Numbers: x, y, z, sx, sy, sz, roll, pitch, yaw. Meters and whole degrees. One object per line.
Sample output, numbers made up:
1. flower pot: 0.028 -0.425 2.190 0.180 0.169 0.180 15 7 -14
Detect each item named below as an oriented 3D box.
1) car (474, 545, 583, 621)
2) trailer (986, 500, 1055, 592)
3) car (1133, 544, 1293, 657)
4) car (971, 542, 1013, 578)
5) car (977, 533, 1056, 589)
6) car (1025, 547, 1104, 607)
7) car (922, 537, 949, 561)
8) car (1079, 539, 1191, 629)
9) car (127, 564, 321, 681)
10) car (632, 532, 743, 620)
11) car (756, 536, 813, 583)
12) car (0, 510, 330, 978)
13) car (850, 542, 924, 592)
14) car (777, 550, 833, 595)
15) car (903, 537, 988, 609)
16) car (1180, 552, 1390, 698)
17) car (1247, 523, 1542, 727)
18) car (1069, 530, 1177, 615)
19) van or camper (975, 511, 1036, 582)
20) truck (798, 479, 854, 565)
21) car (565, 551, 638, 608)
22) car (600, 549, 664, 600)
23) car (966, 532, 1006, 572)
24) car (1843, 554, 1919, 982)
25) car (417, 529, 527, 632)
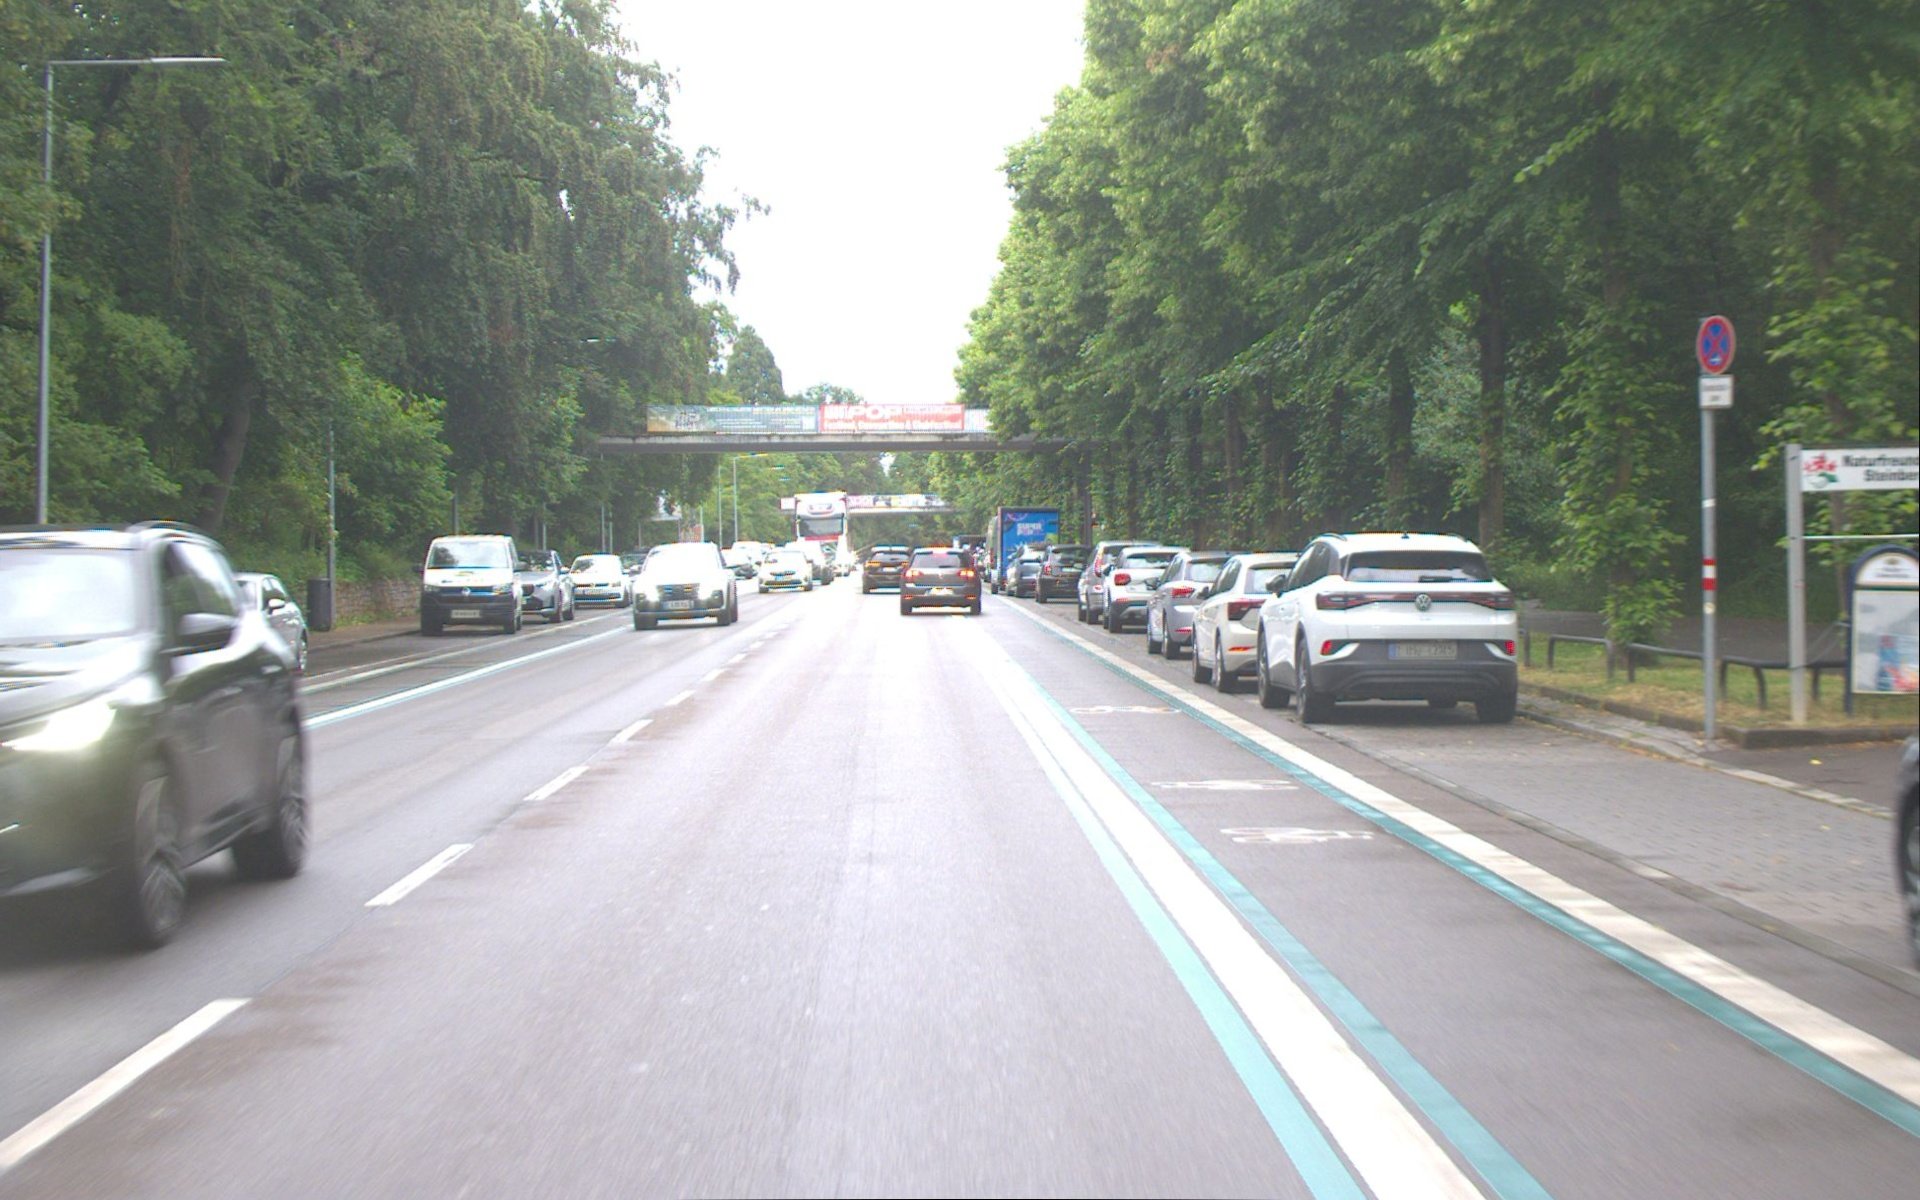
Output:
1. car: -9.849 -0.413 78.766 2.010 1.600 4.780 -1 1 -2
2. trailer: 1.825 -1.652 104.829 1.952 2.749 4.007 0 1 -1
3. car: 3.422 -0.028 47.109 1.698 1.448 4.098 1 1 -2
4. car: 1.450 -1.842 156.936 1.756 1.584 4.499 1 1 -1
5. car: 1.592 -1.154 99.023 1.899 1.542 4.756 1 1 -3
6. car: 2.714 -0.625 90.096 1.825 1.498 4.571 0 1 -1
7. car: -1.675 -3.475 235.898 1.731 1.578 4.036 -1 1 0
8. car: 3.045 -0.317 60.657 1.698 1.508 4.469 1 1 0
9. car: -9.591 0.259 45.051 1.690 1.400 4.028 0 1 0
10. car: -5.350 -0.509 68.004 1.953 1.633 4.445 -1 1 -2
11. car: -5.843 -1.376 114.986 1.775 1.461 4.063 -3 1 -2
12. car: -4.067 0.489 14.379 2.038 1.643 4.477 -2 1 -1
13. car: -2.291 -1.036 106.810 2.140 1.487 4.499 1 1 -3
14. car: -5.849 -1.065 130.309 1.961 1.611 4.466 -1 1 -1
15. car: -0.317 -0.614 75.427 1.818 1.503 4.139 0 1 0
16. car: 3.414 0.229 36.777 1.698 1.448 3.947 1 1 -2
17. car: 3.782 0.164 30.712 1.993 1.656 4.563 -1 1 -1
18. car: 3.128 -0.554 66.830 1.753 1.591 4.740 0 1 -1
19. van or camper: 1.770 -2.112 135.821 2.042 2.720 6.901 1 1 -2
20. truck: -6.581 -3.811 169.090 2.517 4.032 4.917 -3 1 -2
21. car: -9.933 -0.580 95.455 1.789 1.477 3.983 -1 1 -3
22. car: -10.078 -0.808 105.908 1.831 1.472 4.041 -1 1 -4
23. car: 1.317 -2.465 175.353 1.926 2.015 4.664 1 1 -1
24. car: 4.208 0.598 10.748 1.695 1.471 3.998 -1 1 -3
25. car: -9.863 -0.439 69.835 1.973 1.998 5.019 0 1 -5
